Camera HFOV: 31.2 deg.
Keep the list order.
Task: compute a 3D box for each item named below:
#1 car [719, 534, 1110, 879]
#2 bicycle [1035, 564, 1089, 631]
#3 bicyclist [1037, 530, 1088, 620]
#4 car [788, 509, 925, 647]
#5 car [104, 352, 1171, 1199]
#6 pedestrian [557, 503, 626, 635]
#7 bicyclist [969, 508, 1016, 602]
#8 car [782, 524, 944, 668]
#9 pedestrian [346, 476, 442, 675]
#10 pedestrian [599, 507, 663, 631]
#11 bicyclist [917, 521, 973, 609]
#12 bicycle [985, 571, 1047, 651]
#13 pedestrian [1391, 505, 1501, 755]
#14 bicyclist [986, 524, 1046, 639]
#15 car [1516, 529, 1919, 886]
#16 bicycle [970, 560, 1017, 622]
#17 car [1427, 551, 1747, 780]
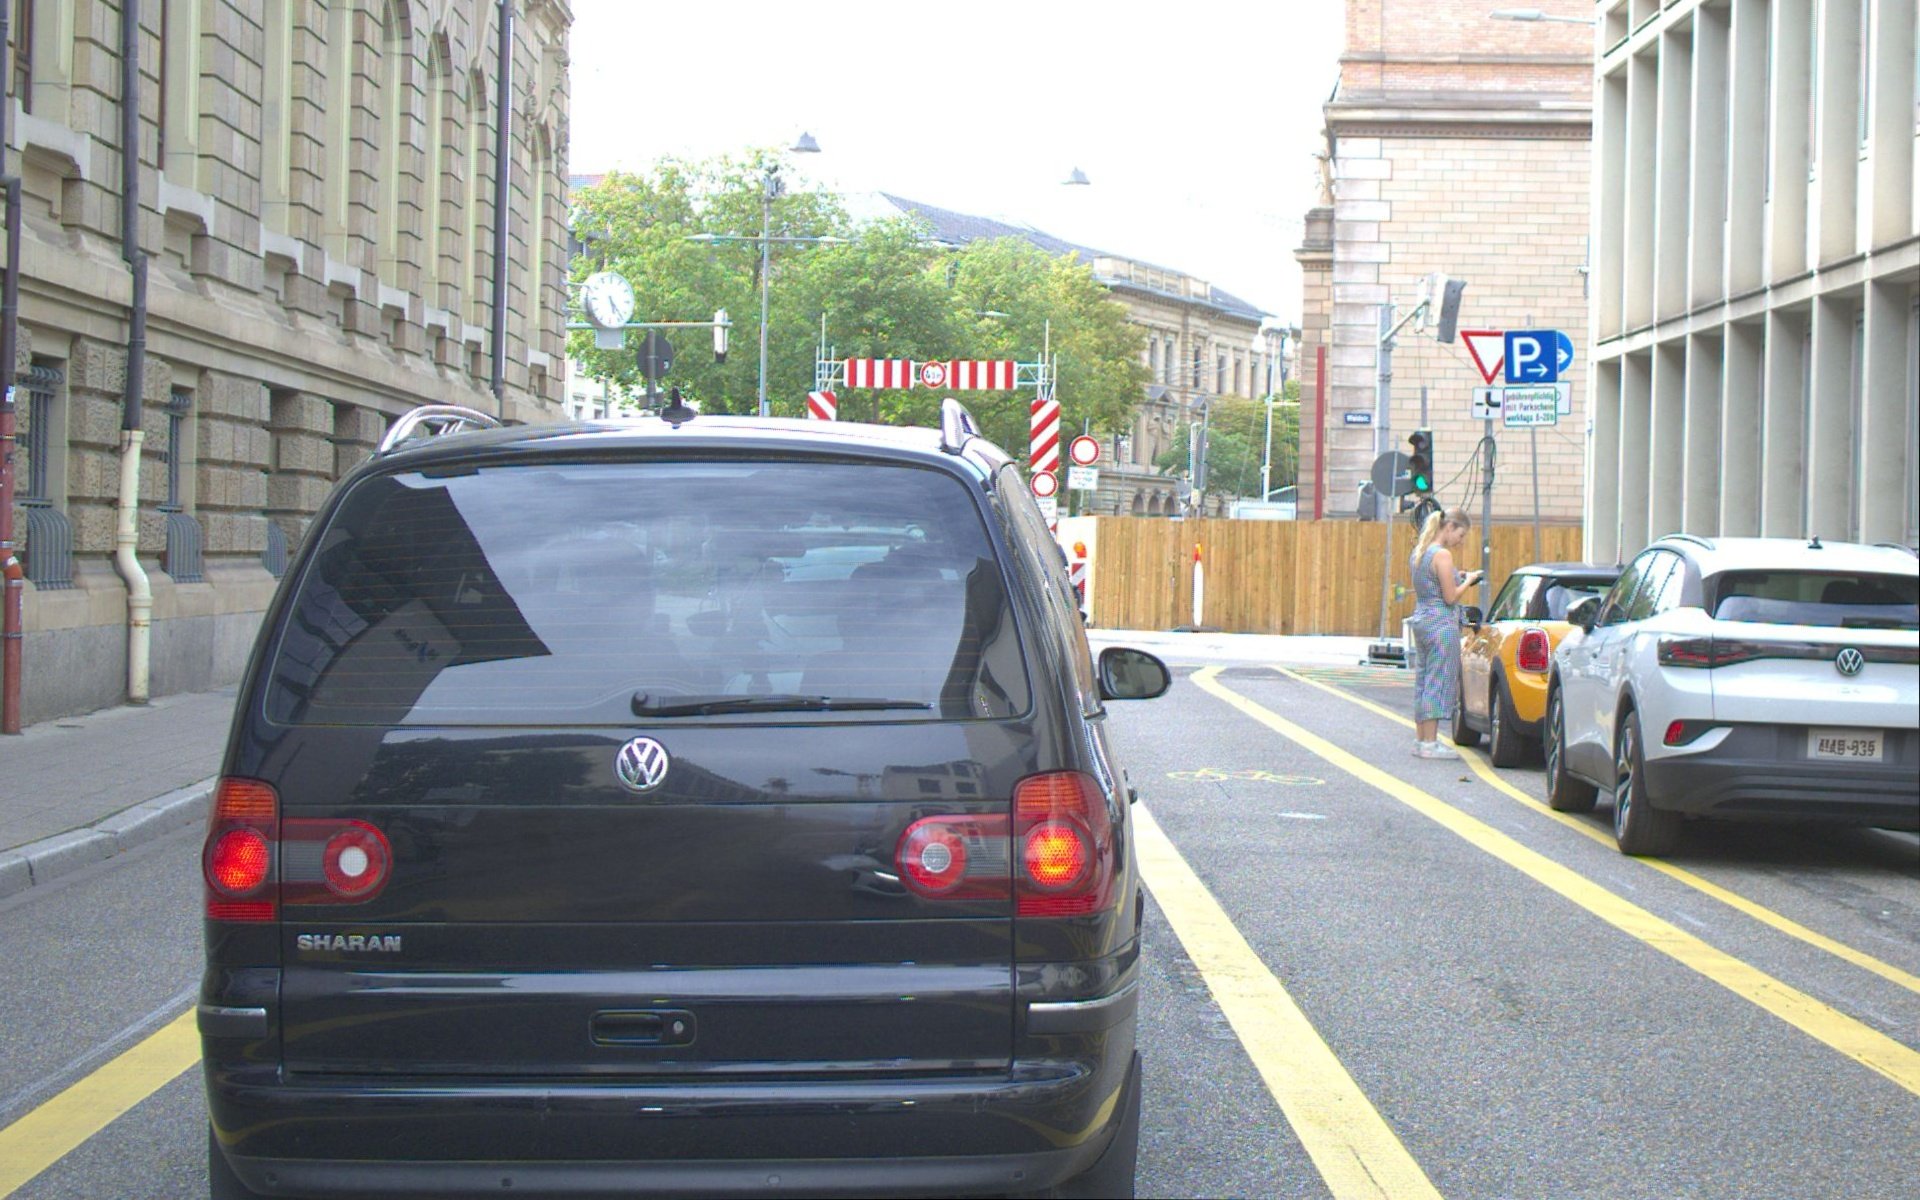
[{"bbox_3d":[-0.121,0.442,17.072,1.678,1.464,4.103,1,1,2],"label":"car"},{"bbox_3d":[1.573,-0.048,53.237,0.735,1.005,2.069,1,1,-1],"label":"bicycle"},{"bbox_3d":[1.581,-0.392,53.217,0.735,1.371,0.832,1,0,-1],"label":"bicyclist"},{"bbox_3d":[-1.459,-0.313,47.289,1.734,1.784,4.104,1,1,-3],"label":"car"},{"bbox_3d":[-0.469,0.460,7.825,1.790,1.784,4.103,0,1,2],"label":"car"},{"bbox_3d":[-5.204,-0.436,48.598,0.792,1.813,1.048,3,0,-1],"label":"pedestrian"},{"bbox_3d":[0.541,-0.748,57.373,0.735,1.550,0.895,1,0,-1],"label":"bicyclist"},{"bbox_3d":[-1.105,-0.069,40.279,1.773,1.580,4.000,1,1,-1],"label":"car"},{"bbox_3d":[-5.341,-0.234,32.497,0.664,1.813,1.048,3,0,-1],"label":"pedestrian"},{"bbox_3d":[-4.933,-0.469,51.633,0.792,1.813,1.048,3,0,-1],"label":"pedestrian"},{"bbox_3d":[-0.239,-0.559,54.533,0.735,1.372,0.829,1,0,-11],"label":"bicyclist"},{"bbox_3d":[0.715,0.135,44.674,0.735,1.005,2.069,1,1,-1],"label":"bicycle"},{"bbox_3d":[3.486,0.208,24.700,0.698,1.757,0.706,1,0,3],"label":"pedestrian"},{"bbox_3d":[0.721,-0.244,44.628,0.735,1.473,0.884,1,0,-1],"label":"bicyclist"},{"bbox_3d":[4.259,0.501,18.534,1.860,1.599,4.512,4,1,2],"label":"car"},{"bbox_3d":[0.555,-0.160,57.439,0.735,1.005,2.069,1,1,-1],"label":"bicycle"},{"bbox_3d":[4.493,0.424,25.156,1.680,1.430,3.886,4,1,2],"label":"car"}]
